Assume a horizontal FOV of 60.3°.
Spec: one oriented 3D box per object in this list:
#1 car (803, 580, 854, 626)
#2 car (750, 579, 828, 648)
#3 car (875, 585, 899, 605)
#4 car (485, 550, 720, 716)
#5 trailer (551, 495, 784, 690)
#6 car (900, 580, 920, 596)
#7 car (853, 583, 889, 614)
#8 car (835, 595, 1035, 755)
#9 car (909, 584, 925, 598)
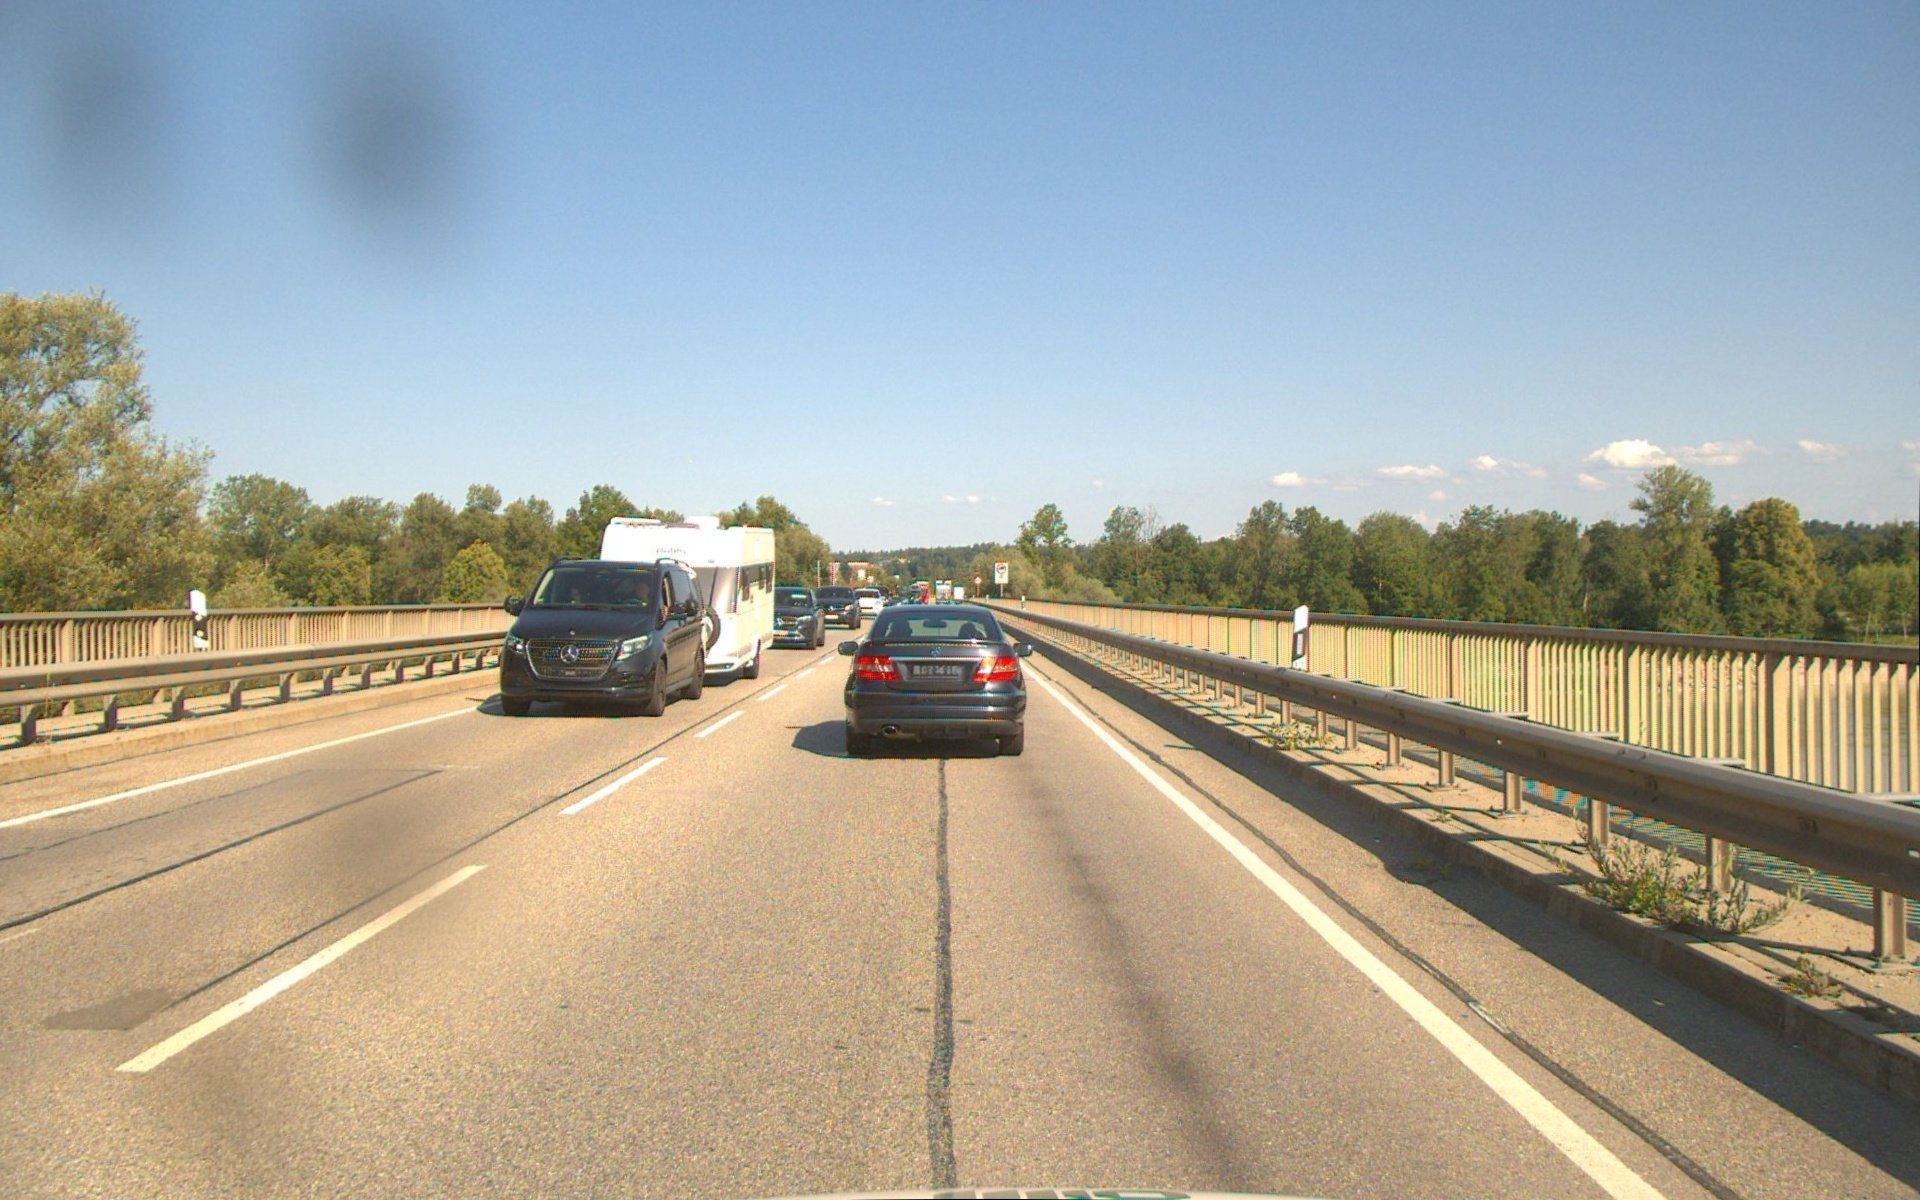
[{"bbox_3d":[-5.219,0.093,66.134,1.910,1.723,4.473,2,1,-4],"label":"car"},{"bbox_3d":[-4.515,0.325,44.234,1.766,1.690,4.431,2,1,-3],"label":"car"},{"bbox_3d":[-5.642,-0.396,128.102,1.730,1.472,4.453,2,1,-4],"label":"car"},{"bbox_3d":[-4.447,0.363,21.403,1.942,1.886,5.008,0,0,0],"label":"car"},{"bbox_3d":[-4.642,-0.150,27.843,2.503,2.785,8.062,1,1,0],"label":"trailer"},{"bbox_3d":[-5.542,-1.327,182.561,2.013,1.681,4.718,2,1,-4],"label":"car"},{"bbox_3d":[-5.045,-0.106,94.024,1.944,1.680,4.595,2,1,-3],"label":"car"},{"bbox_3d":[-0.237,0.648,16.524,1.757,1.400,3.999,0,0,-1],"label":"car"},{"bbox_3d":[-5.141,-1.061,197.138,1.771,1.605,4.197,0,0,-4],"label":"car"}]
